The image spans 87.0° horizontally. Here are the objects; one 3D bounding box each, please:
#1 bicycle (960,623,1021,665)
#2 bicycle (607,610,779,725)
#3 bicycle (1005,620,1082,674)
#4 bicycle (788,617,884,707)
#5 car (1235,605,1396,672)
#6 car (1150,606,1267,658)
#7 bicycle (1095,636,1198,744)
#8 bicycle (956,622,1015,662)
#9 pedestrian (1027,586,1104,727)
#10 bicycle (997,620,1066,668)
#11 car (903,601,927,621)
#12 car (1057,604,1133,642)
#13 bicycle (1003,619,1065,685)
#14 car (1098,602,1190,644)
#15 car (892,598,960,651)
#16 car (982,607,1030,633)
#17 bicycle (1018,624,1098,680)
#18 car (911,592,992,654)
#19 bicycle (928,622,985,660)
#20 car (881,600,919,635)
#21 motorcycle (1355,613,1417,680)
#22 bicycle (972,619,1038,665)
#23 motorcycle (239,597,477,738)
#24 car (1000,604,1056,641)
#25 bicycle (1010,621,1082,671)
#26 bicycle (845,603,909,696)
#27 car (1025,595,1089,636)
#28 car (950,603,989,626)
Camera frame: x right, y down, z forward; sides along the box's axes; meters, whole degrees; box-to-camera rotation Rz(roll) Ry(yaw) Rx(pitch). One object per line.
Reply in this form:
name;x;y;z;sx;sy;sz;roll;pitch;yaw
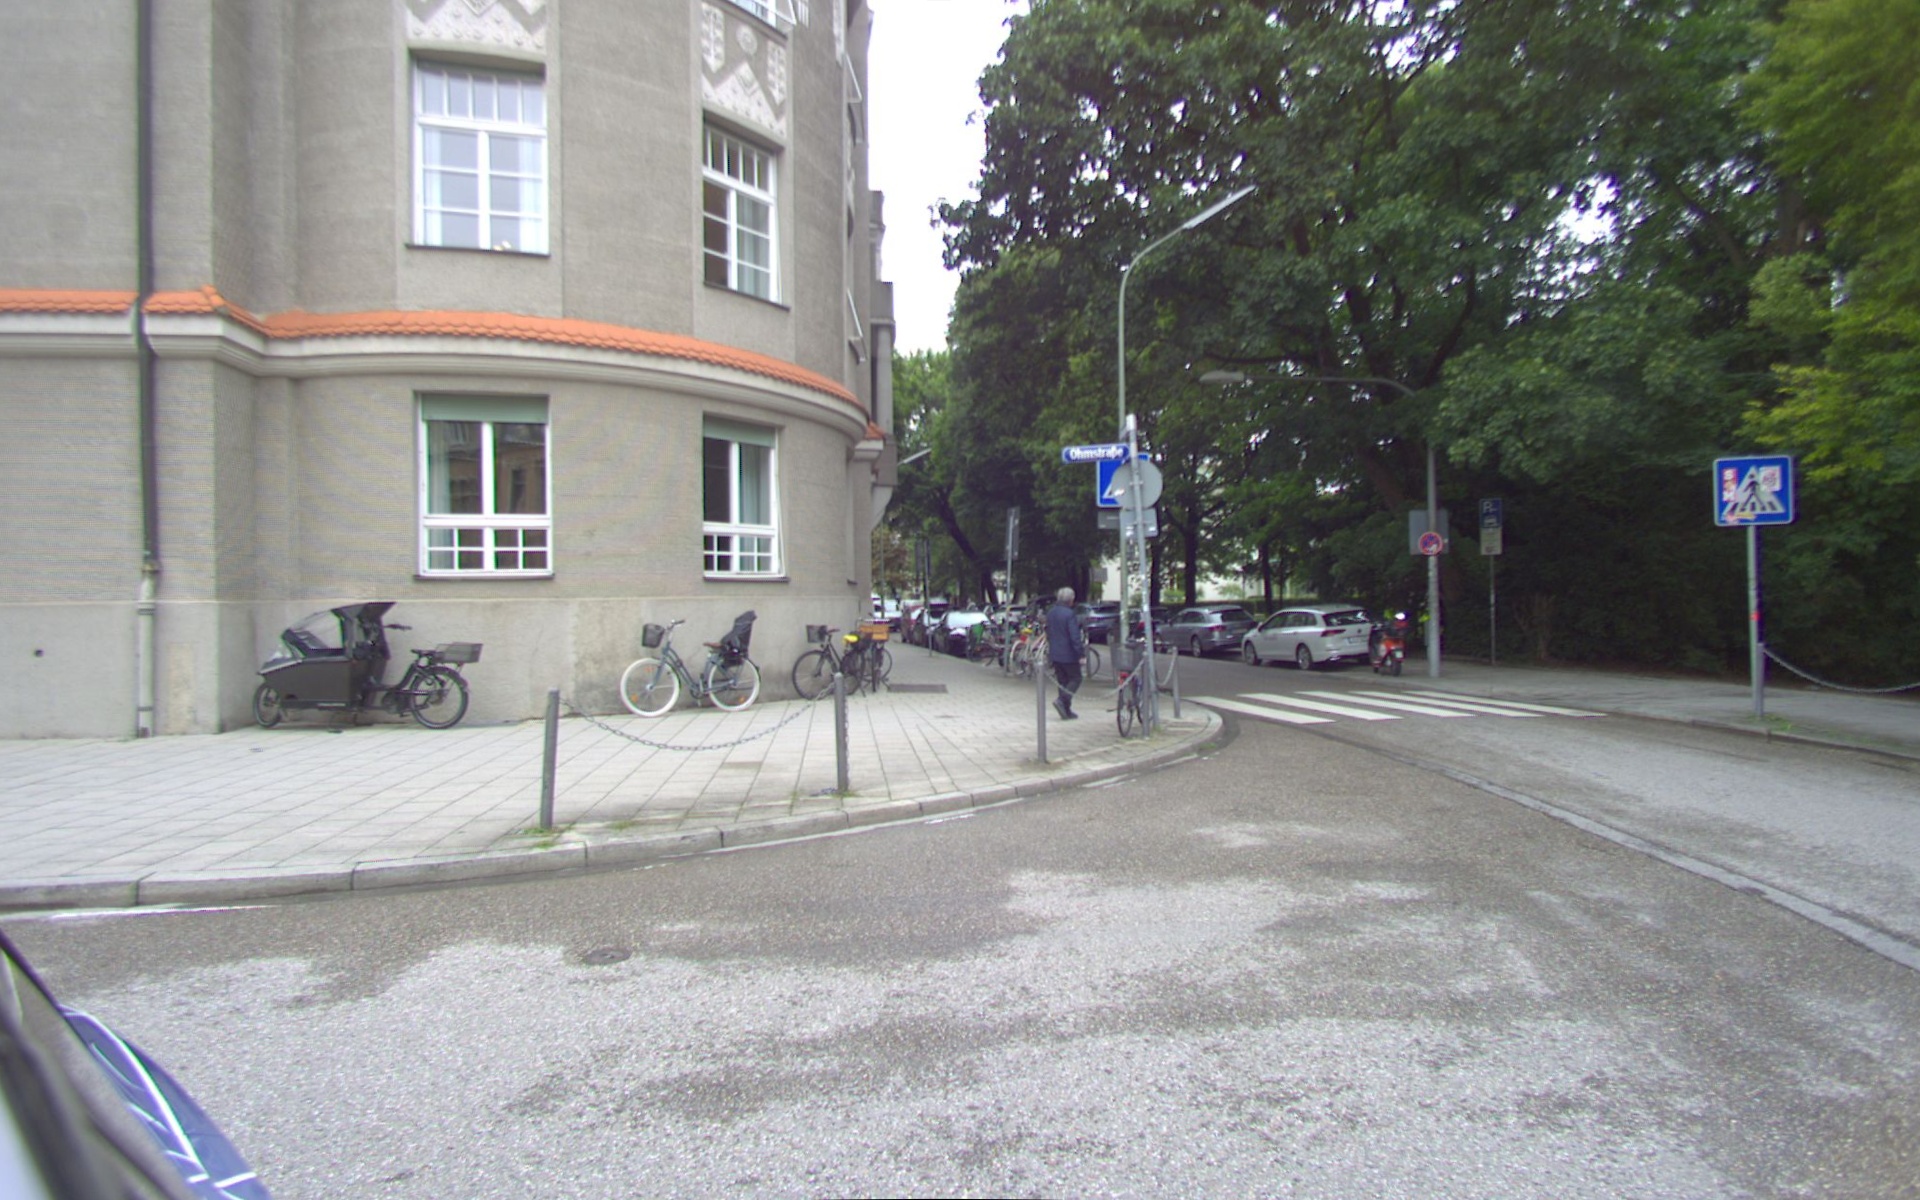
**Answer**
bicycle;0.876;1.241;28.779;1.665;1.156;0.510;-1;0;9
bicycle;-3.242;0.776;12.385;1.895;1.265;0.740;-1;0;-38
bicycle;1.857;1.034;22.414;1.665;1.156;0.465;-1;0;9
bicycle;-1.770;0.860;14.758;0.561;1.165;1.914;3;1;19
car;8.494;0.895;24.629;1.598;1.460;4.446;0;-1;-12
car;7.511;0.947;31.111;1.748;1.443;4.526;0;-1;-11
bicycle;2.133;0.957;11.374;0.510;1.018;1.988;-1;0;29
bicycle;0.743;1.221;29.538;1.665;1.156;0.510;-1;0;9
pedestrian;1.302;0.669;12.391;0.806;1.654;0.722;-1;0;17
bicycle;1.791;1.102;25.310;1.665;1.156;0.510;-1;0;9
car;-4.542;1.079;101.059;1.969;1.966;4.668;-1;0;-7
car;5.540;0.943;42.090;1.748;1.443;4.526;0;-1;-11
bicycle;1.422;0.952;19.215;0.510;1.156;1.667;-1;0;29
car;6.637;0.832;37.036;1.748;1.443;4.526;0;-1;-11
car;-1.425;0.915;40.368;1.967;1.966;4.671;-1;0;-11
car;2.560;1.127;57.590;1.748;1.443;4.526;0;-1;-11
bicycle;2.108;1.107;21.682;1.689;1.156;0.510;-1;0;9
car;-0.373;0.726;34.766;1.967;1.966;4.671;-1;0;-11
bicycle;-0.106;1.244;30.769;1.665;1.156;0.510;-1;0;9
car;-3.620;0.999;60.425;1.969;1.966;4.668;-1;0;-7
motorcycle;8.451;0.901;20.165;0.852;1.192;1.995;-4;-1;17
bicycle;1.174;1.082;26.229;1.665;1.156;0.510;-1;0;9
motorcycle;-6.532;0.699;11.075;2.113;1.451;0.739;-1;0;-8
car;3.470;1.145;52.394;1.748;1.849;4.526;0;-1;-11
bicycle;2.035;1.087;23.883;1.665;1.156;0.510;-1;0;9
bicycle;-1.352;0.779;16.780;0.729;1.424;1.923;-1;0;5
car;4.492;0.703;47.505;1.748;1.832;4.527;0;0;-11
car;0.588;0.951;67.513;1.748;1.443;4.526;0;-1;-11
